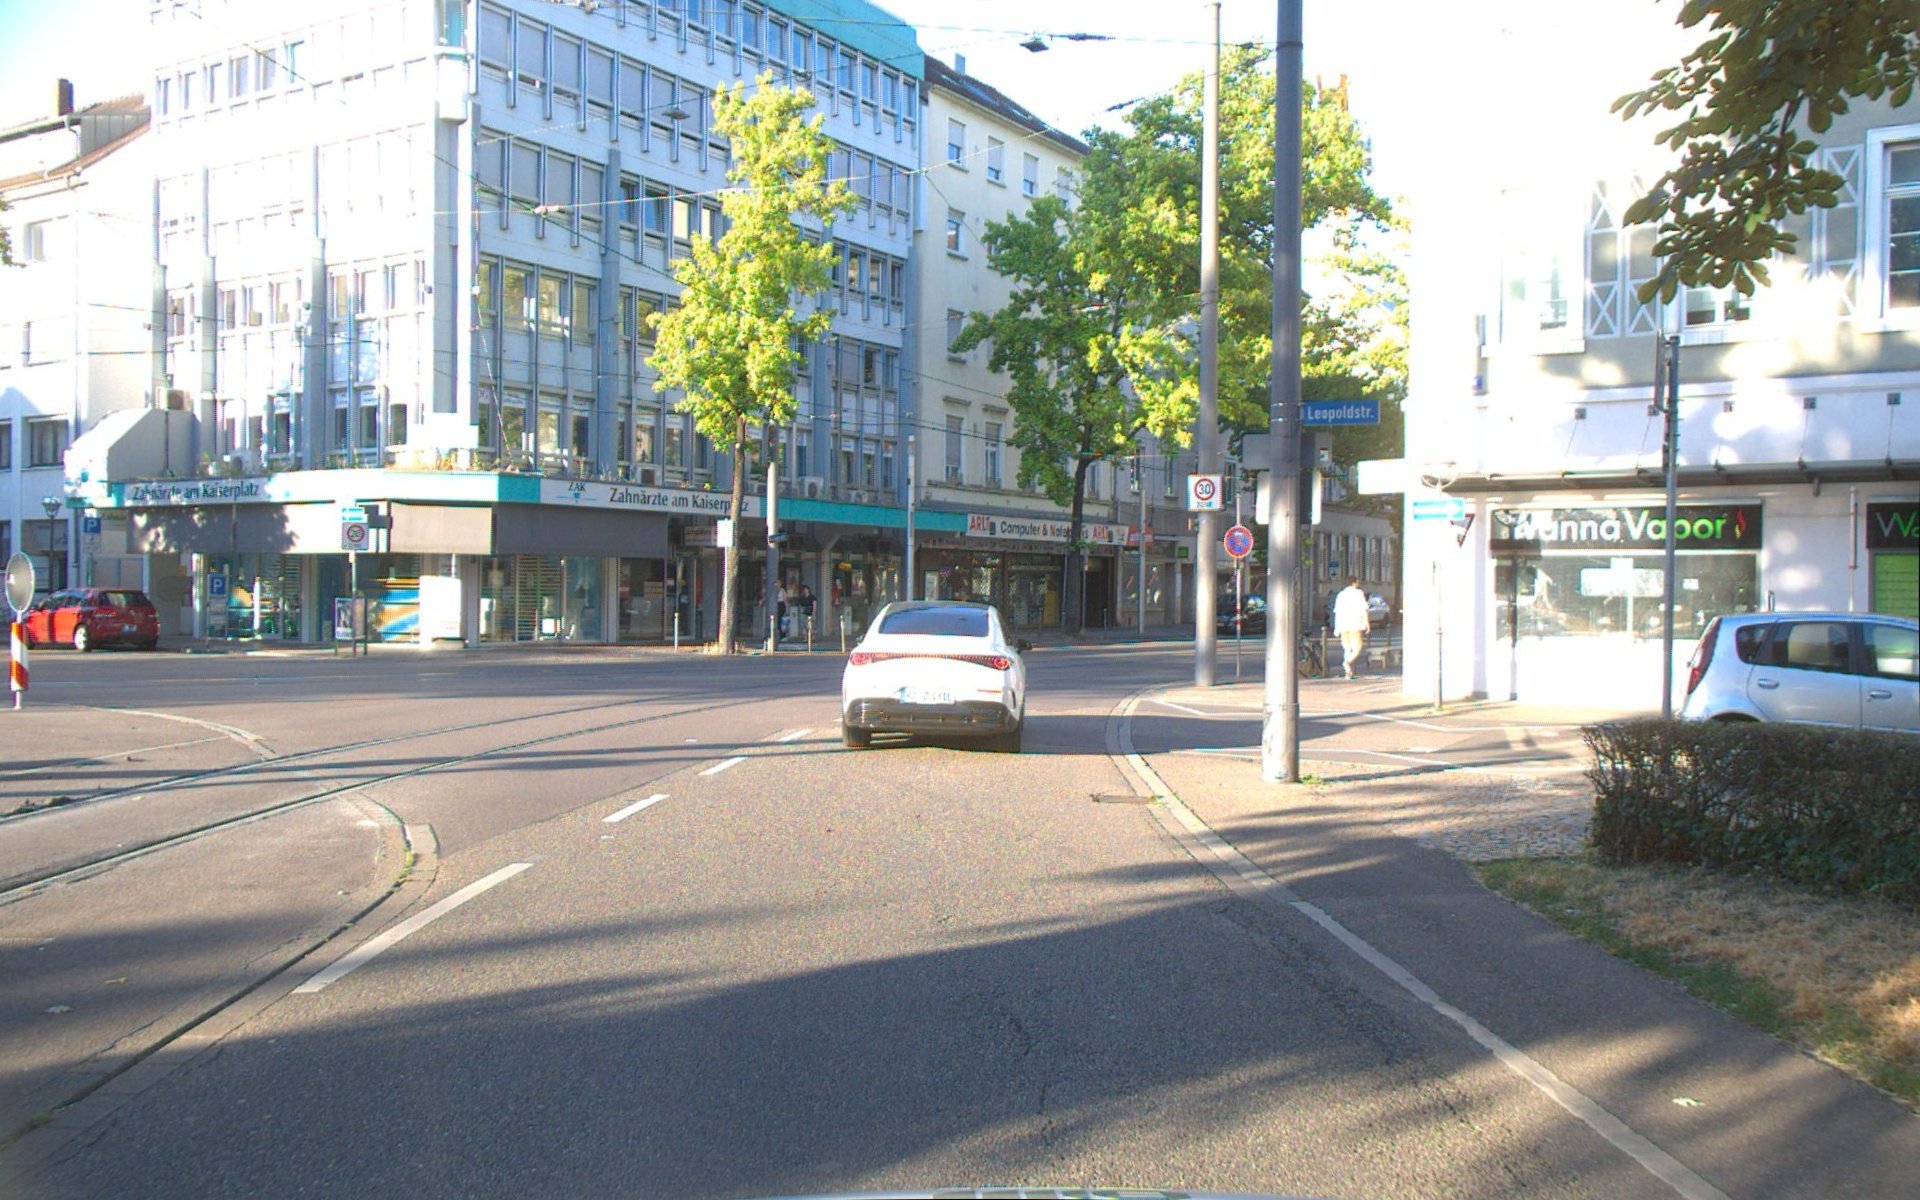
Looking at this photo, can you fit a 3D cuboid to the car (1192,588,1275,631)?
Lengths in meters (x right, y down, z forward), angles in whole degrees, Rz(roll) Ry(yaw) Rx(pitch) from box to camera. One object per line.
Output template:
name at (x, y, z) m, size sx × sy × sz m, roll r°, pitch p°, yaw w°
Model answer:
car at (11.284, 0.366, 68.014) m, size 1.927 × 1.668 × 3.988 m, roll 1°, pitch 0°, yaw 33°

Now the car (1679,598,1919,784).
car at (8.391, 0.768, 14.657) m, size 3.501 × 1.540 × 1.735 m, roll 1°, pitch 0°, yaw 32°

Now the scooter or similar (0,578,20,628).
scooter or similar at (-28.523, 0.077, 49.341) m, size 0.745 × 1.422 × 1.907 m, roll 1°, pitch 1°, yaw -32°

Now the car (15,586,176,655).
car at (-20.621, 0.467, 39.420) m, size 3.925 × 1.511 × 2.017 m, roll 1°, pitch 0°, yaw 39°

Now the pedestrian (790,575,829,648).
pedestrian at (-4.247, 0.318, 46.756) m, size 0.783 × 2.049 × 0.732 m, roll 1°, pitch 0°, yaw 34°

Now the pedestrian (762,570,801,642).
pedestrian at (-5.091, 0.170, 47.155) m, size 0.783 × 2.049 × 0.732 m, roll 1°, pitch 0°, yaw 34°

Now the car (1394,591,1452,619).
car at (25.215, 0.267, 89.896) m, size 1.925 × 1.437 × 4.837 m, roll 1°, pitch 0°, yaw 30°

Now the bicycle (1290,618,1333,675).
bicycle at (6.940, 0.905, 32.602) m, size 0.347 × 1.095 × 1.696 m, roll 1°, pitch 0°, yaw 29°

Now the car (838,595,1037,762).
car at (-0.214, 0.732, 17.594) m, size 1.830 × 1.494 × 4.042 m, roll 2°, pitch 1°, yaw 0°

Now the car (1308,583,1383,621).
car at (18.456, 0.075, 78.971) m, size 1.927 × 1.668 × 4.799 m, roll 4°, pitch 2°, yaw 33°

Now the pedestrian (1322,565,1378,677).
pedestrian at (7.307, 0.388, 30.955) m, size 0.824 × 2.049 × 0.845 m, roll 1°, pitch 0°, yaw 27°
